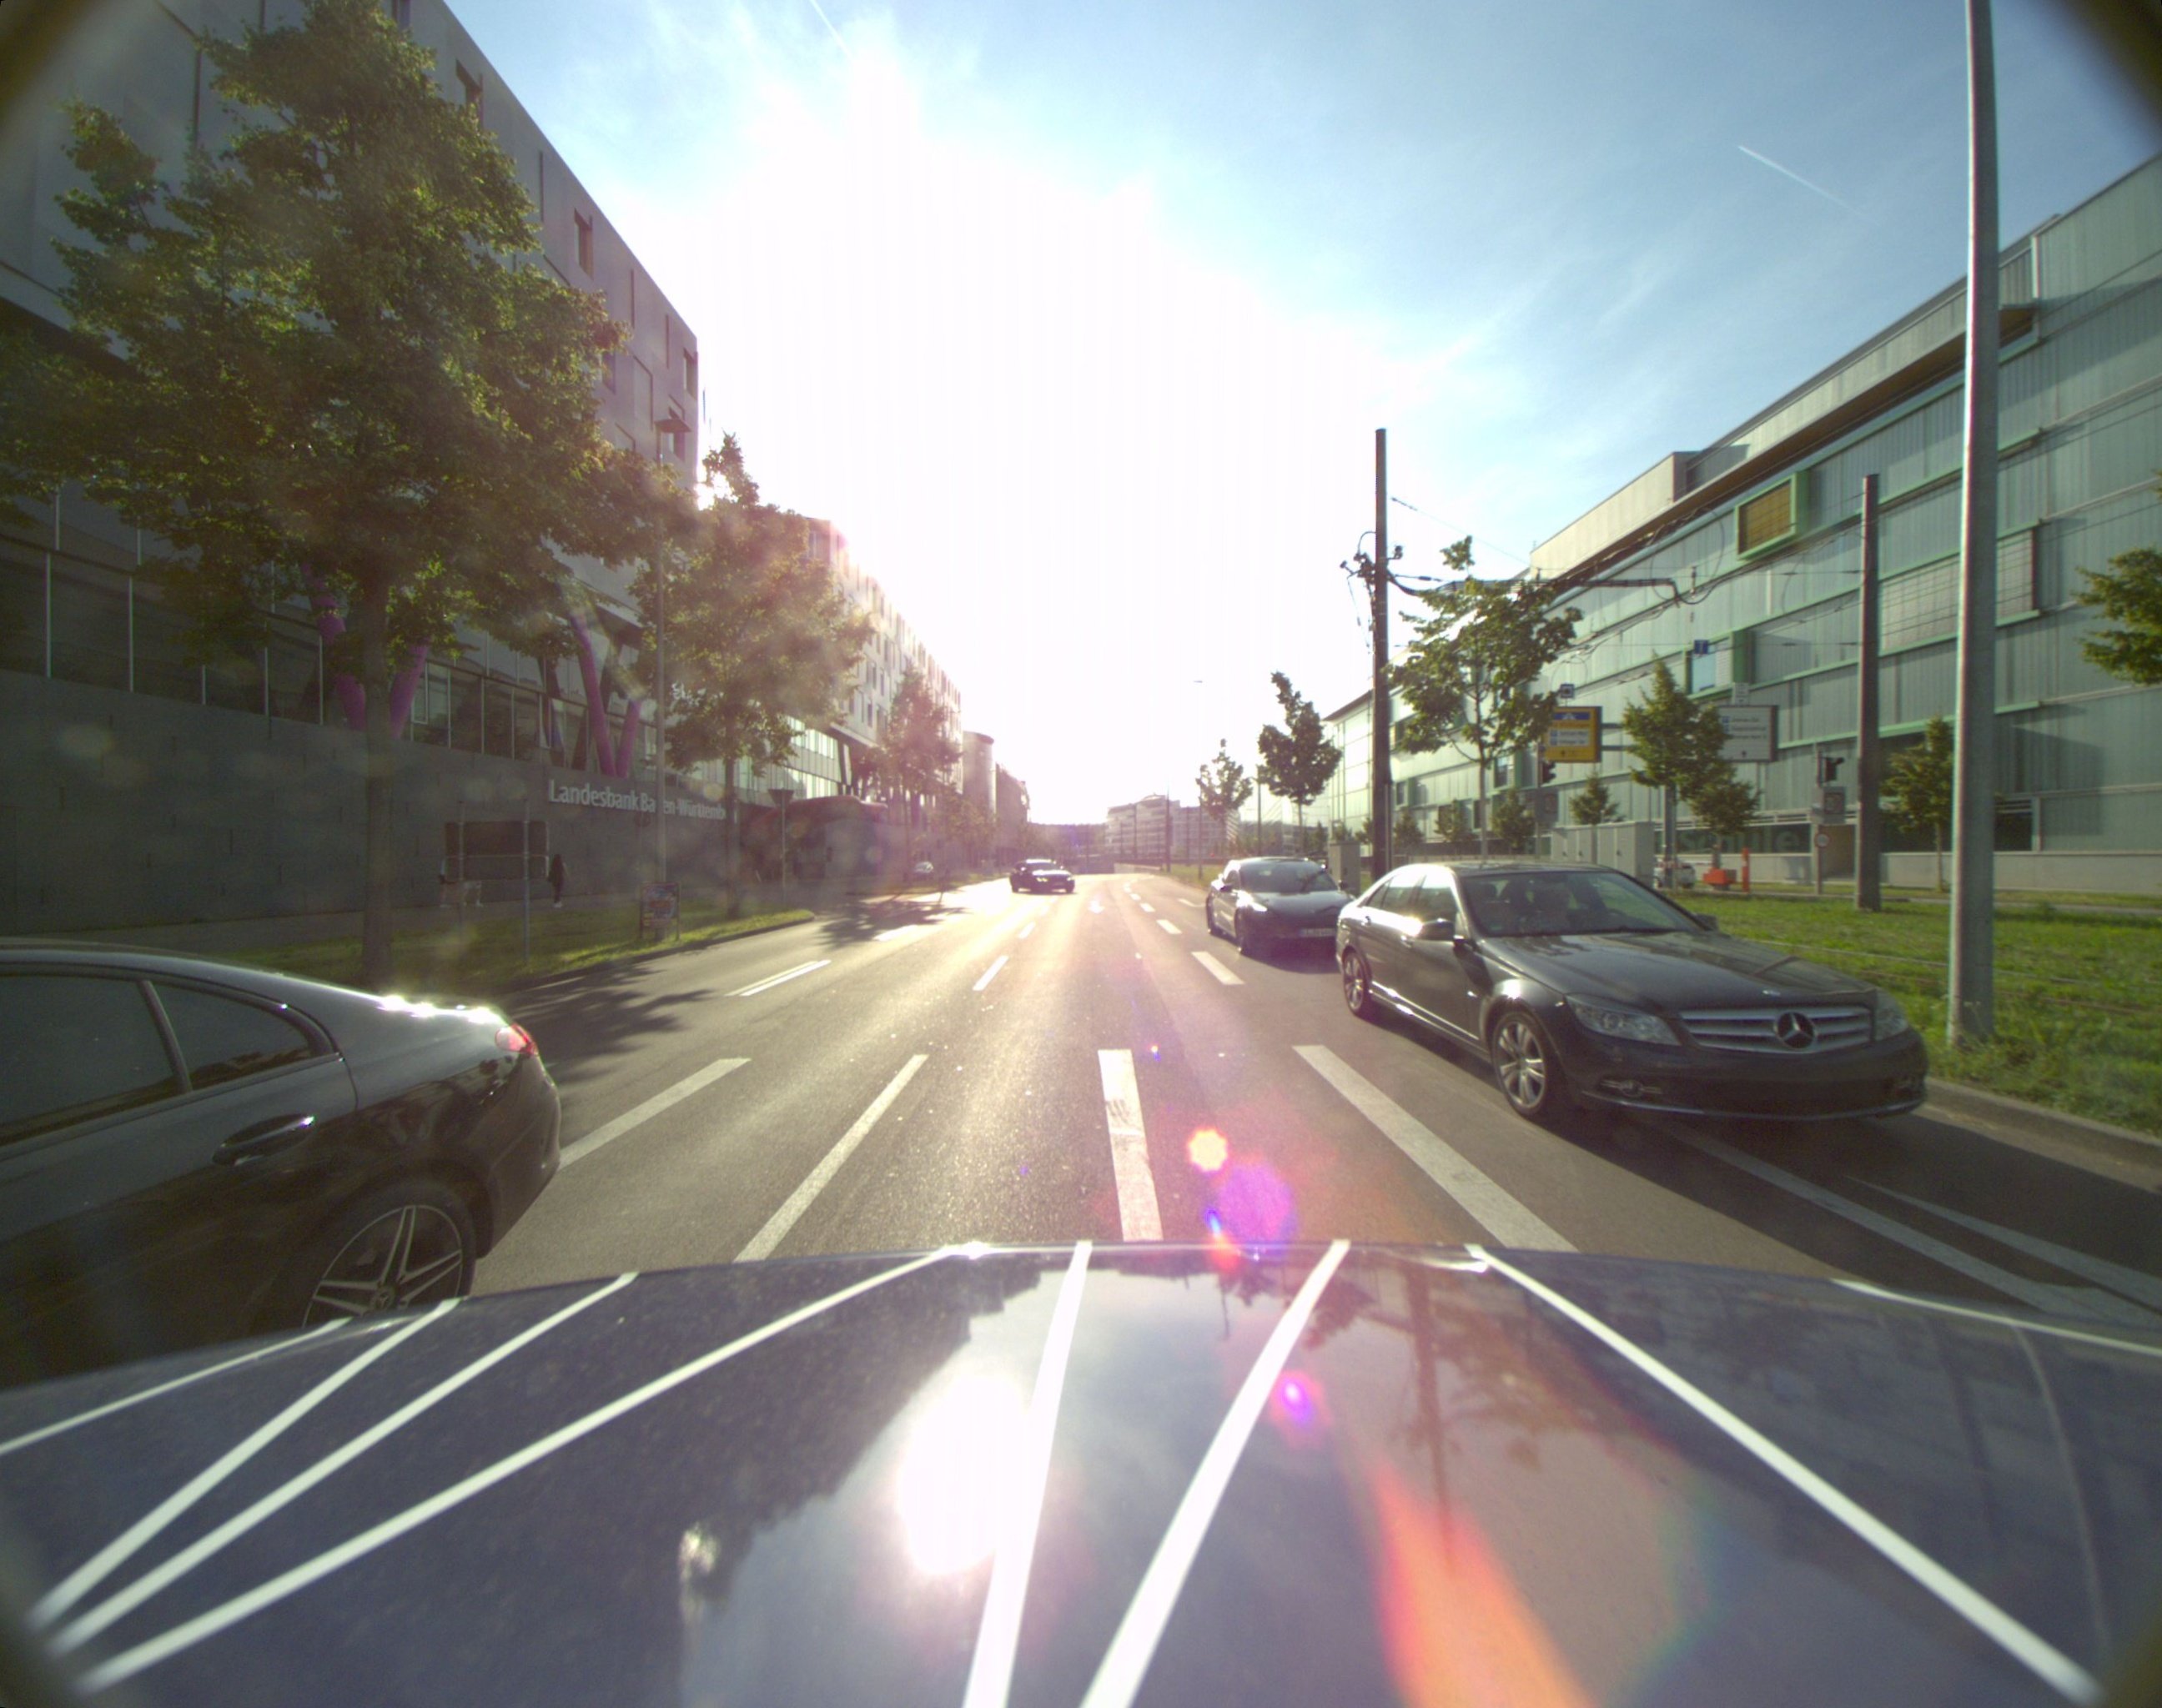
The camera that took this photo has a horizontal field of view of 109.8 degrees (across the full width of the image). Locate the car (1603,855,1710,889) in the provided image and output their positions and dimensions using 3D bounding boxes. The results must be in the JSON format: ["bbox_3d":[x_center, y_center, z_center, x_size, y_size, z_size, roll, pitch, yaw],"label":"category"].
[{"bbox_3d":[27.464,0.840,36.473,1.882,1.519,4.223,0,0,-1],"label":"car"}]

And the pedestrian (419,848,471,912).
[{"bbox_3d":[-18.645,0.746,22.288,0.770,1.814,0.853,2,0,0],"label":"pedestrian"}]

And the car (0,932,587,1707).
[{"bbox_3d":[-2.878,1.025,0.659,1.843,1.441,4.556,-2,0,1],"label":"car"}]

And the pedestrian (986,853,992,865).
[{"bbox_3d":[-13.436,0.723,111.066,0.725,1.776,0.771,0,1,0],"label":"pedestrian"}]

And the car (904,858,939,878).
[{"bbox_3d":[-11.608,0.999,55.585,1.696,1.382,4.199,0,-1,-1],"label":"car"}]

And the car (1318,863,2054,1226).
[{"bbox_3d":[3.263,0.841,5.426,1.791,1.470,4.354,-2,0,1],"label":"car"}]

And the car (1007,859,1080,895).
[{"bbox_3d":[-1.796,0.986,34.376,1.898,1.418,4.465,-2,1,-22],"label":"car"}]

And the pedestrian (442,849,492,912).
[{"bbox_3d":[-18.053,0.762,22.360,0.756,1.783,0.844,2,0,0],"label":"pedestrian"}]

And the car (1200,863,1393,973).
[{"bbox_3d":[3.240,0.887,12.382,1.894,1.377,4.335,-2,0,0],"label":"car"}]

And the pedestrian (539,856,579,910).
[{"bbox_3d":[-16.069,0.884,23.392,0.695,1.629,0.736,1,1,0],"label":"pedestrian"}]
